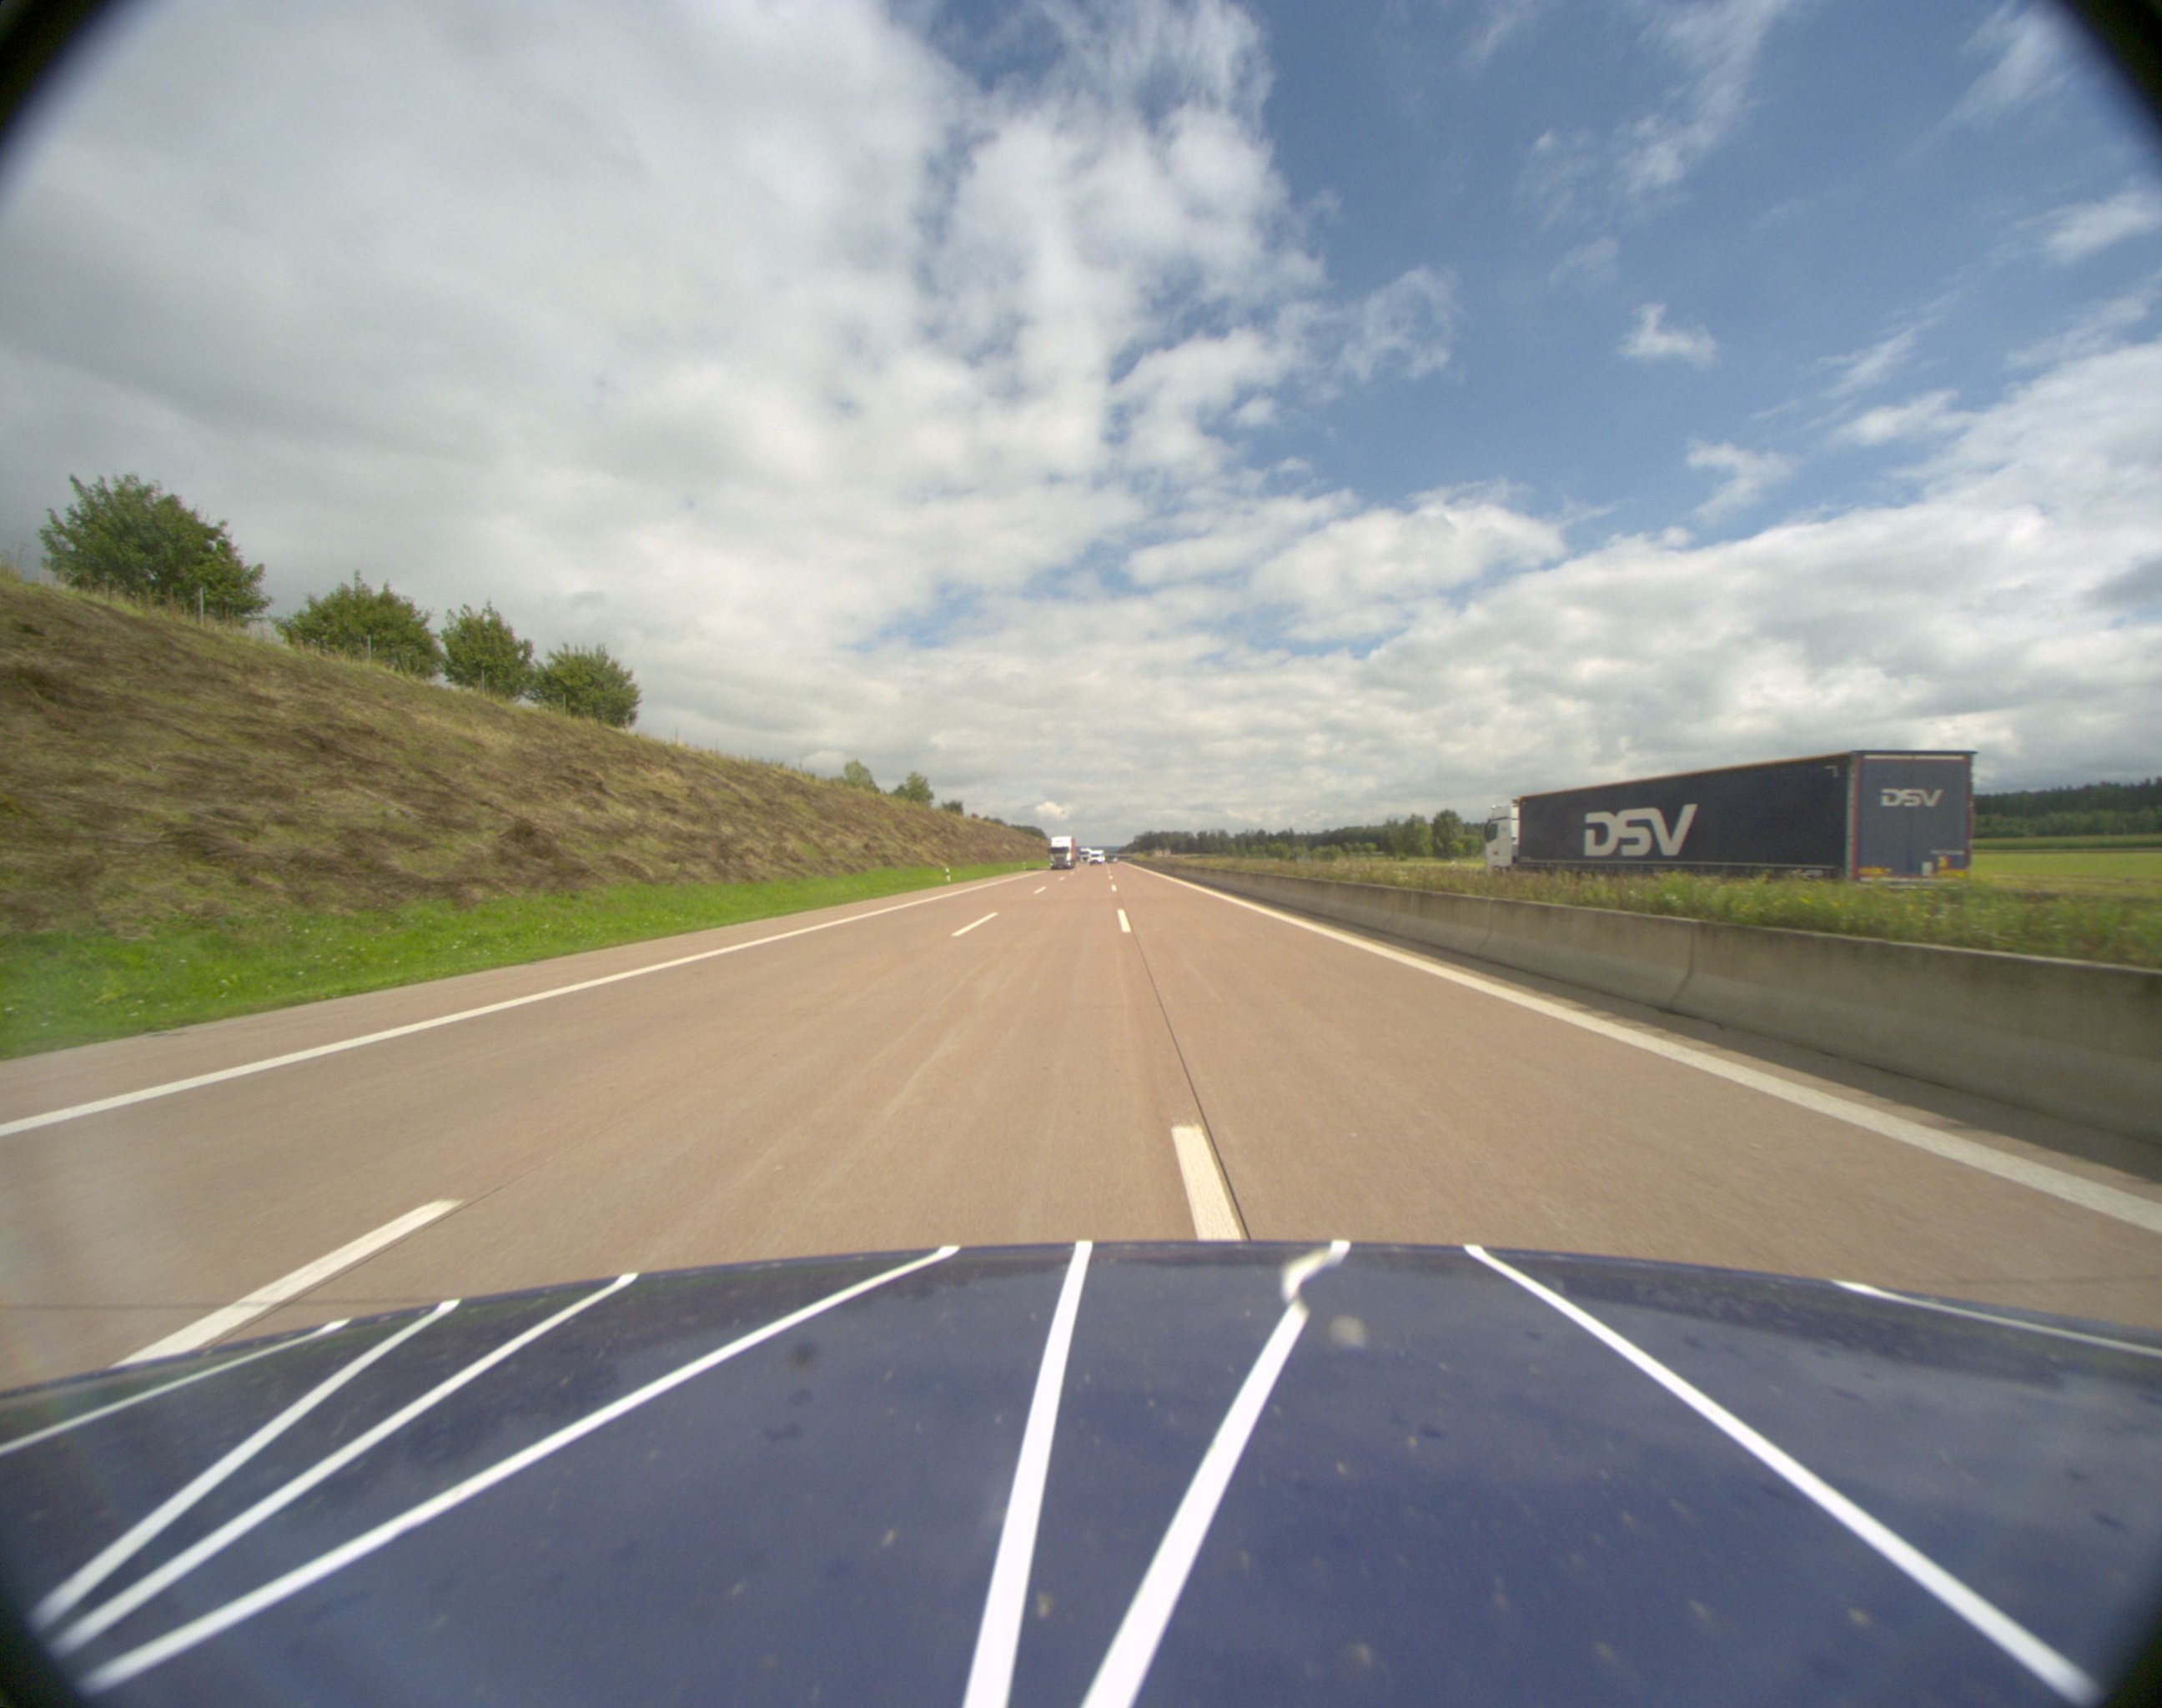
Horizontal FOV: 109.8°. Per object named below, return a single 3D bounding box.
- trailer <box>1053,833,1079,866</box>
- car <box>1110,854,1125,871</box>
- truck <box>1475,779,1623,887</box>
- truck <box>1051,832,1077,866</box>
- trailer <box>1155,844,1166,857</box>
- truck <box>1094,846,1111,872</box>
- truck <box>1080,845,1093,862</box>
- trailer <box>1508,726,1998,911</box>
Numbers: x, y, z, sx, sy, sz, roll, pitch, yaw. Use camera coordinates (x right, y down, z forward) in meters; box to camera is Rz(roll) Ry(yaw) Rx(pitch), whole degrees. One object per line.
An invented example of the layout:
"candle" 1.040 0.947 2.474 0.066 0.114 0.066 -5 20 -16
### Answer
"trailer" -1.910 -0.605 101.788 2.678 4.069 12.790 -2 0 2
"car" 7.487 1.678 155.642 2.773 3.260 6.393 -3 0 3
"truck" 18.615 -0.772 30.642 2.777 3.936 5.290 -1 0 1
"truck" -2.091 -0.621 95.831 2.680 4.082 6.616 -2 0 2
"trailer" 27.749 -1.152 265.339 3.029 4.239 12.096 -3 0 2
"truck" 3.741 0.814 132.652 2.680 4.333 11.809 -3 0 2
"truck" 1.555 -0.115 204.354 3.107 4.333 11.257 -3 0 2
"trailer" 18.480 -0.785 23.524 2.777 3.936 14.331 -1 0 1
